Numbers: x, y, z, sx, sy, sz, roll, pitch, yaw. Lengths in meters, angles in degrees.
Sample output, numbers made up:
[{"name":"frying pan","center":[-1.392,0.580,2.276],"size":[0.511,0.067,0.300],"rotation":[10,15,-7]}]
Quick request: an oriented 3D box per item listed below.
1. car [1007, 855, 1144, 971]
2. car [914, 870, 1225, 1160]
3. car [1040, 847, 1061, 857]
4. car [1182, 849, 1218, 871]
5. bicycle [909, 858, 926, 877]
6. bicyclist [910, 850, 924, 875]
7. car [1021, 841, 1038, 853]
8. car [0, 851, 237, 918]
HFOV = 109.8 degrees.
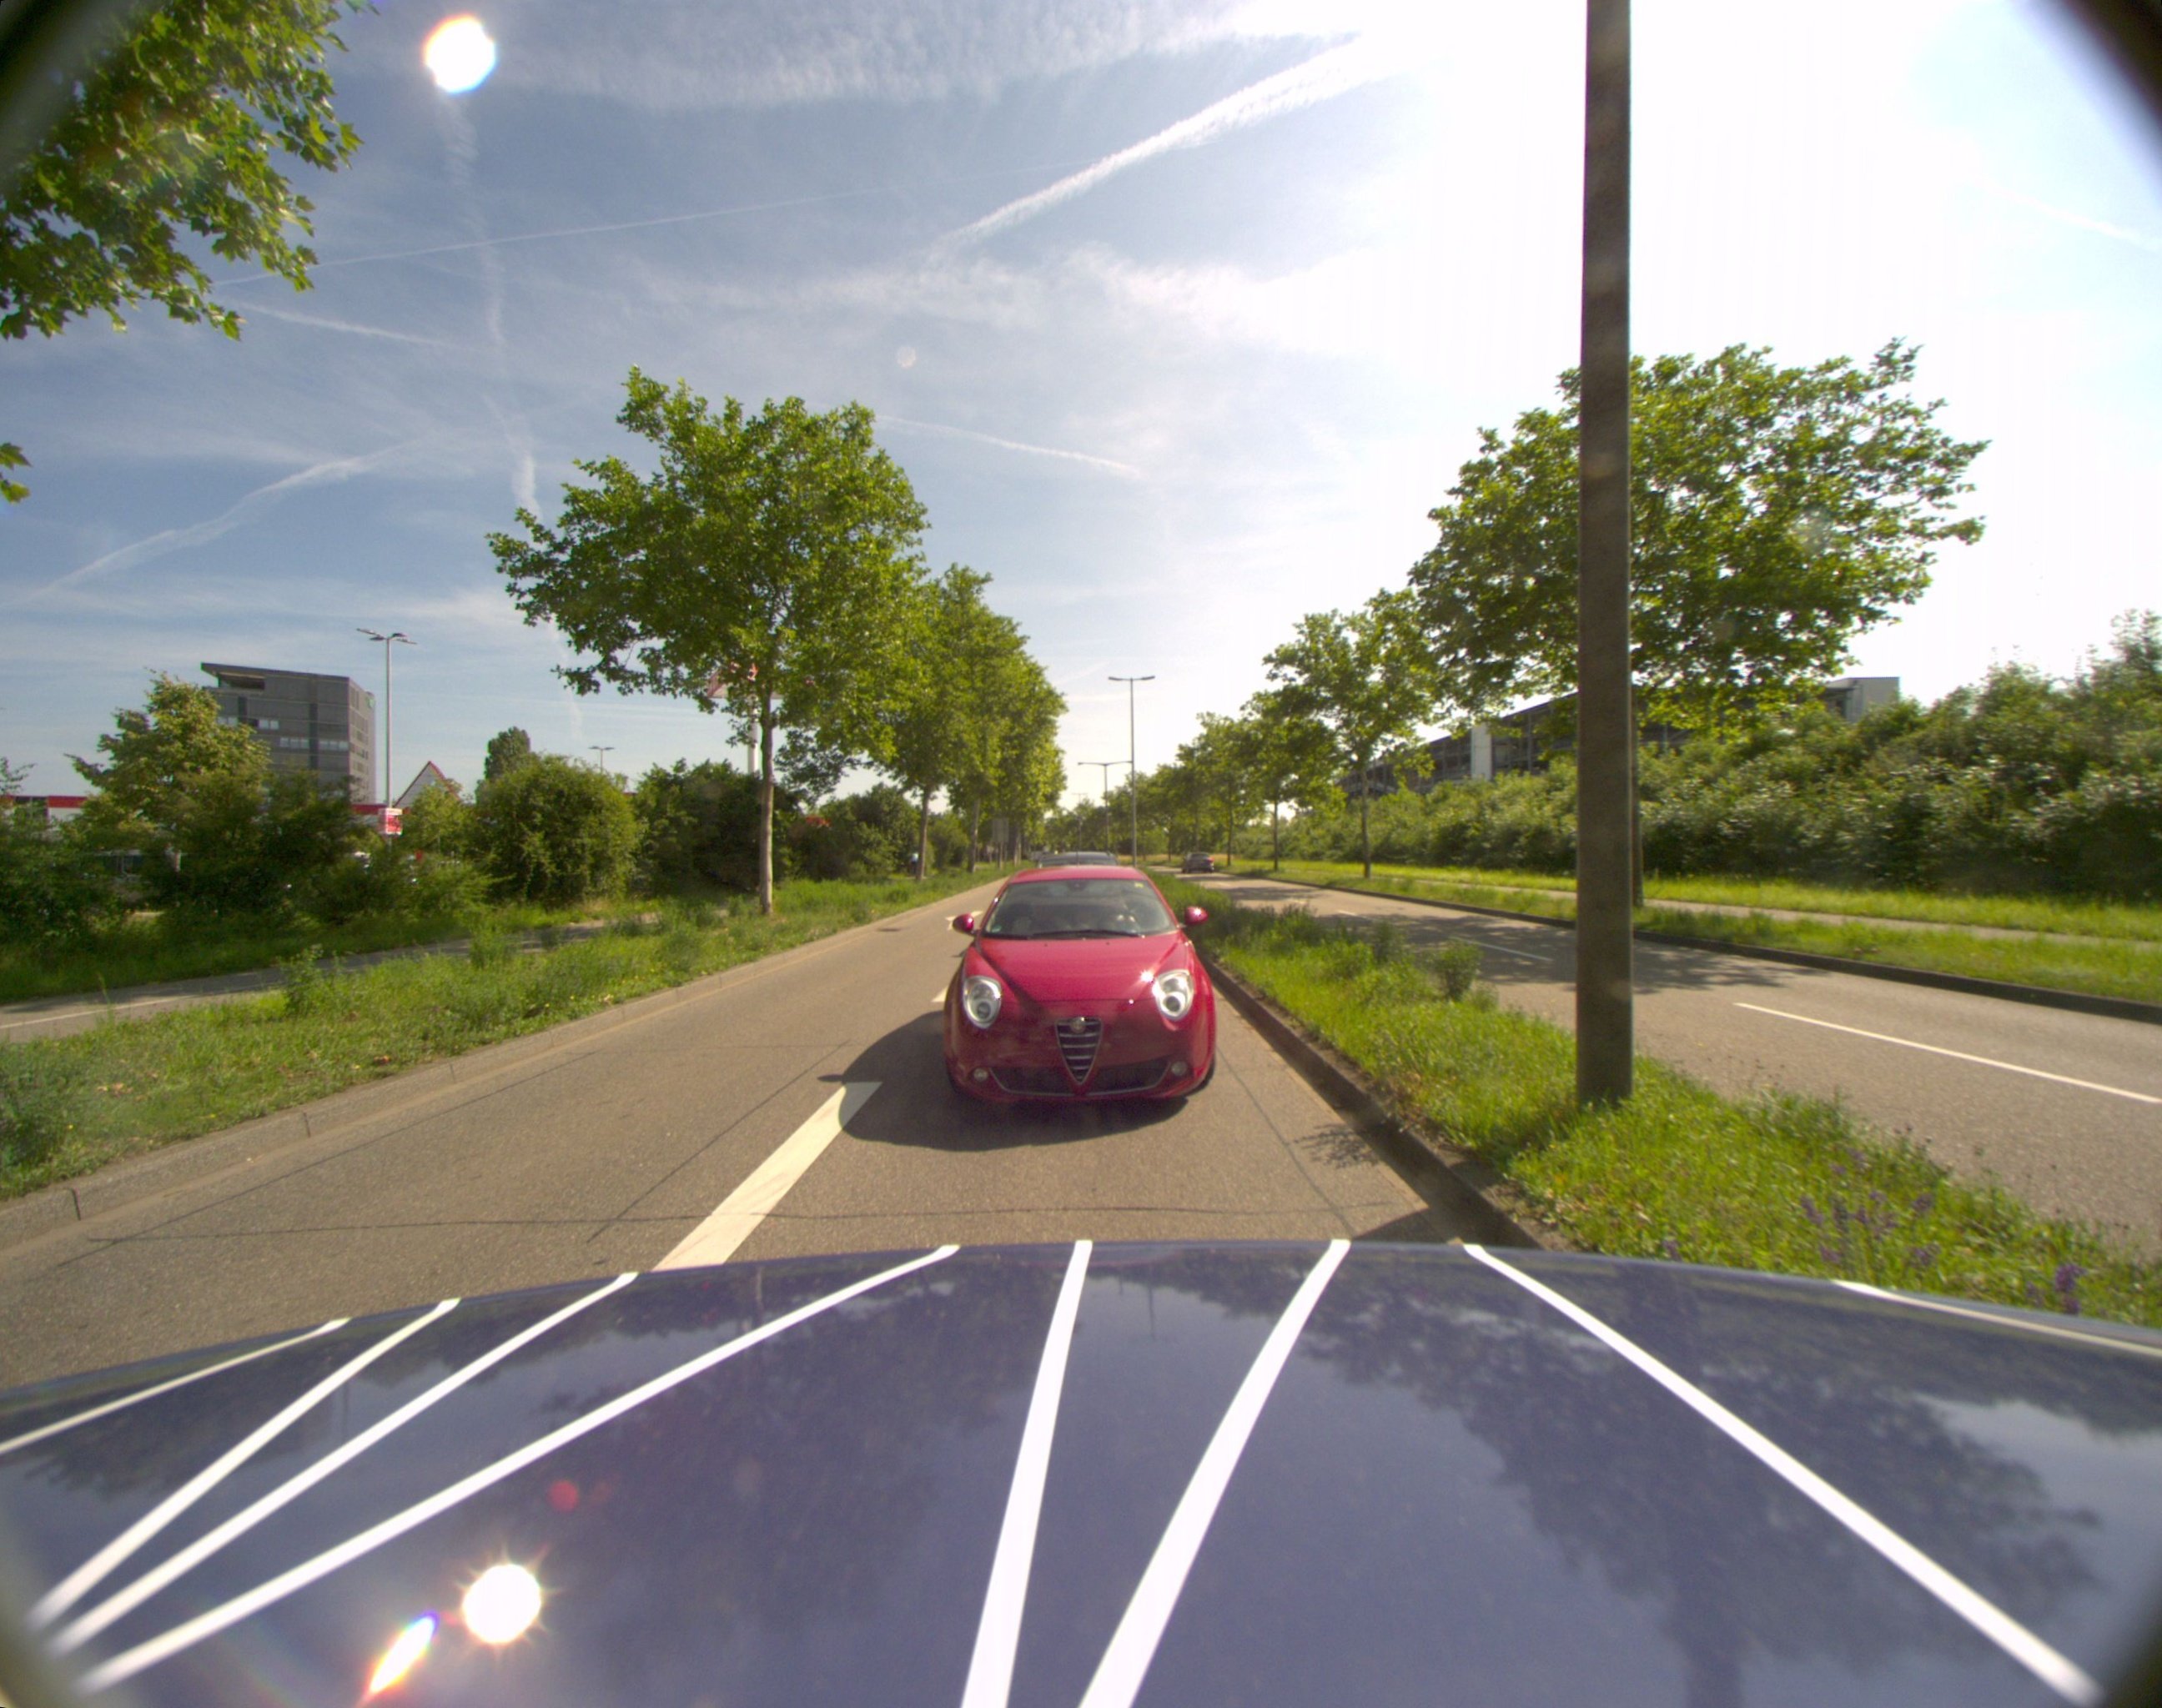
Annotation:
[{"name":"car","center":[-0.044,0.822,12.551],"size":[1.874,1.536,4.081],"rotation":[-1,1,1]},{"name":"car","center":[-0.036,0.933,6.136],"size":[1.658,1.430,3.908],"rotation":[-2,1,1]},{"name":"car","center":[-6.065,-0.347,150.638],"size":[2.003,2.002,4.687],"rotation":[-1,1,-32]},{"name":"car","center":[8.405,0.392,53.924],"size":[1.868,1.459,3.937],"rotation":[-1,1,0]},{"name":"bicycle","center":[-10.770,0.881,49.998],"size":[0.687,1.230,1.934],"rotation":[0,1,1]},{"name":"bicyclist","center":[-10.775,0.545,50.030],"size":[0.687,1.622,1.002],"rotation":[0,1,1]},{"name":"car","center":[-11.418,-1.546,167.407],"size":[2.068,2.396,5.527],"rotation":[-1,1,-23]},{"name":"car","center":[-25.070,0.718,19.761],"size":[3.869,1.576,1.844],"rotation":[-1,1,-38]}]
